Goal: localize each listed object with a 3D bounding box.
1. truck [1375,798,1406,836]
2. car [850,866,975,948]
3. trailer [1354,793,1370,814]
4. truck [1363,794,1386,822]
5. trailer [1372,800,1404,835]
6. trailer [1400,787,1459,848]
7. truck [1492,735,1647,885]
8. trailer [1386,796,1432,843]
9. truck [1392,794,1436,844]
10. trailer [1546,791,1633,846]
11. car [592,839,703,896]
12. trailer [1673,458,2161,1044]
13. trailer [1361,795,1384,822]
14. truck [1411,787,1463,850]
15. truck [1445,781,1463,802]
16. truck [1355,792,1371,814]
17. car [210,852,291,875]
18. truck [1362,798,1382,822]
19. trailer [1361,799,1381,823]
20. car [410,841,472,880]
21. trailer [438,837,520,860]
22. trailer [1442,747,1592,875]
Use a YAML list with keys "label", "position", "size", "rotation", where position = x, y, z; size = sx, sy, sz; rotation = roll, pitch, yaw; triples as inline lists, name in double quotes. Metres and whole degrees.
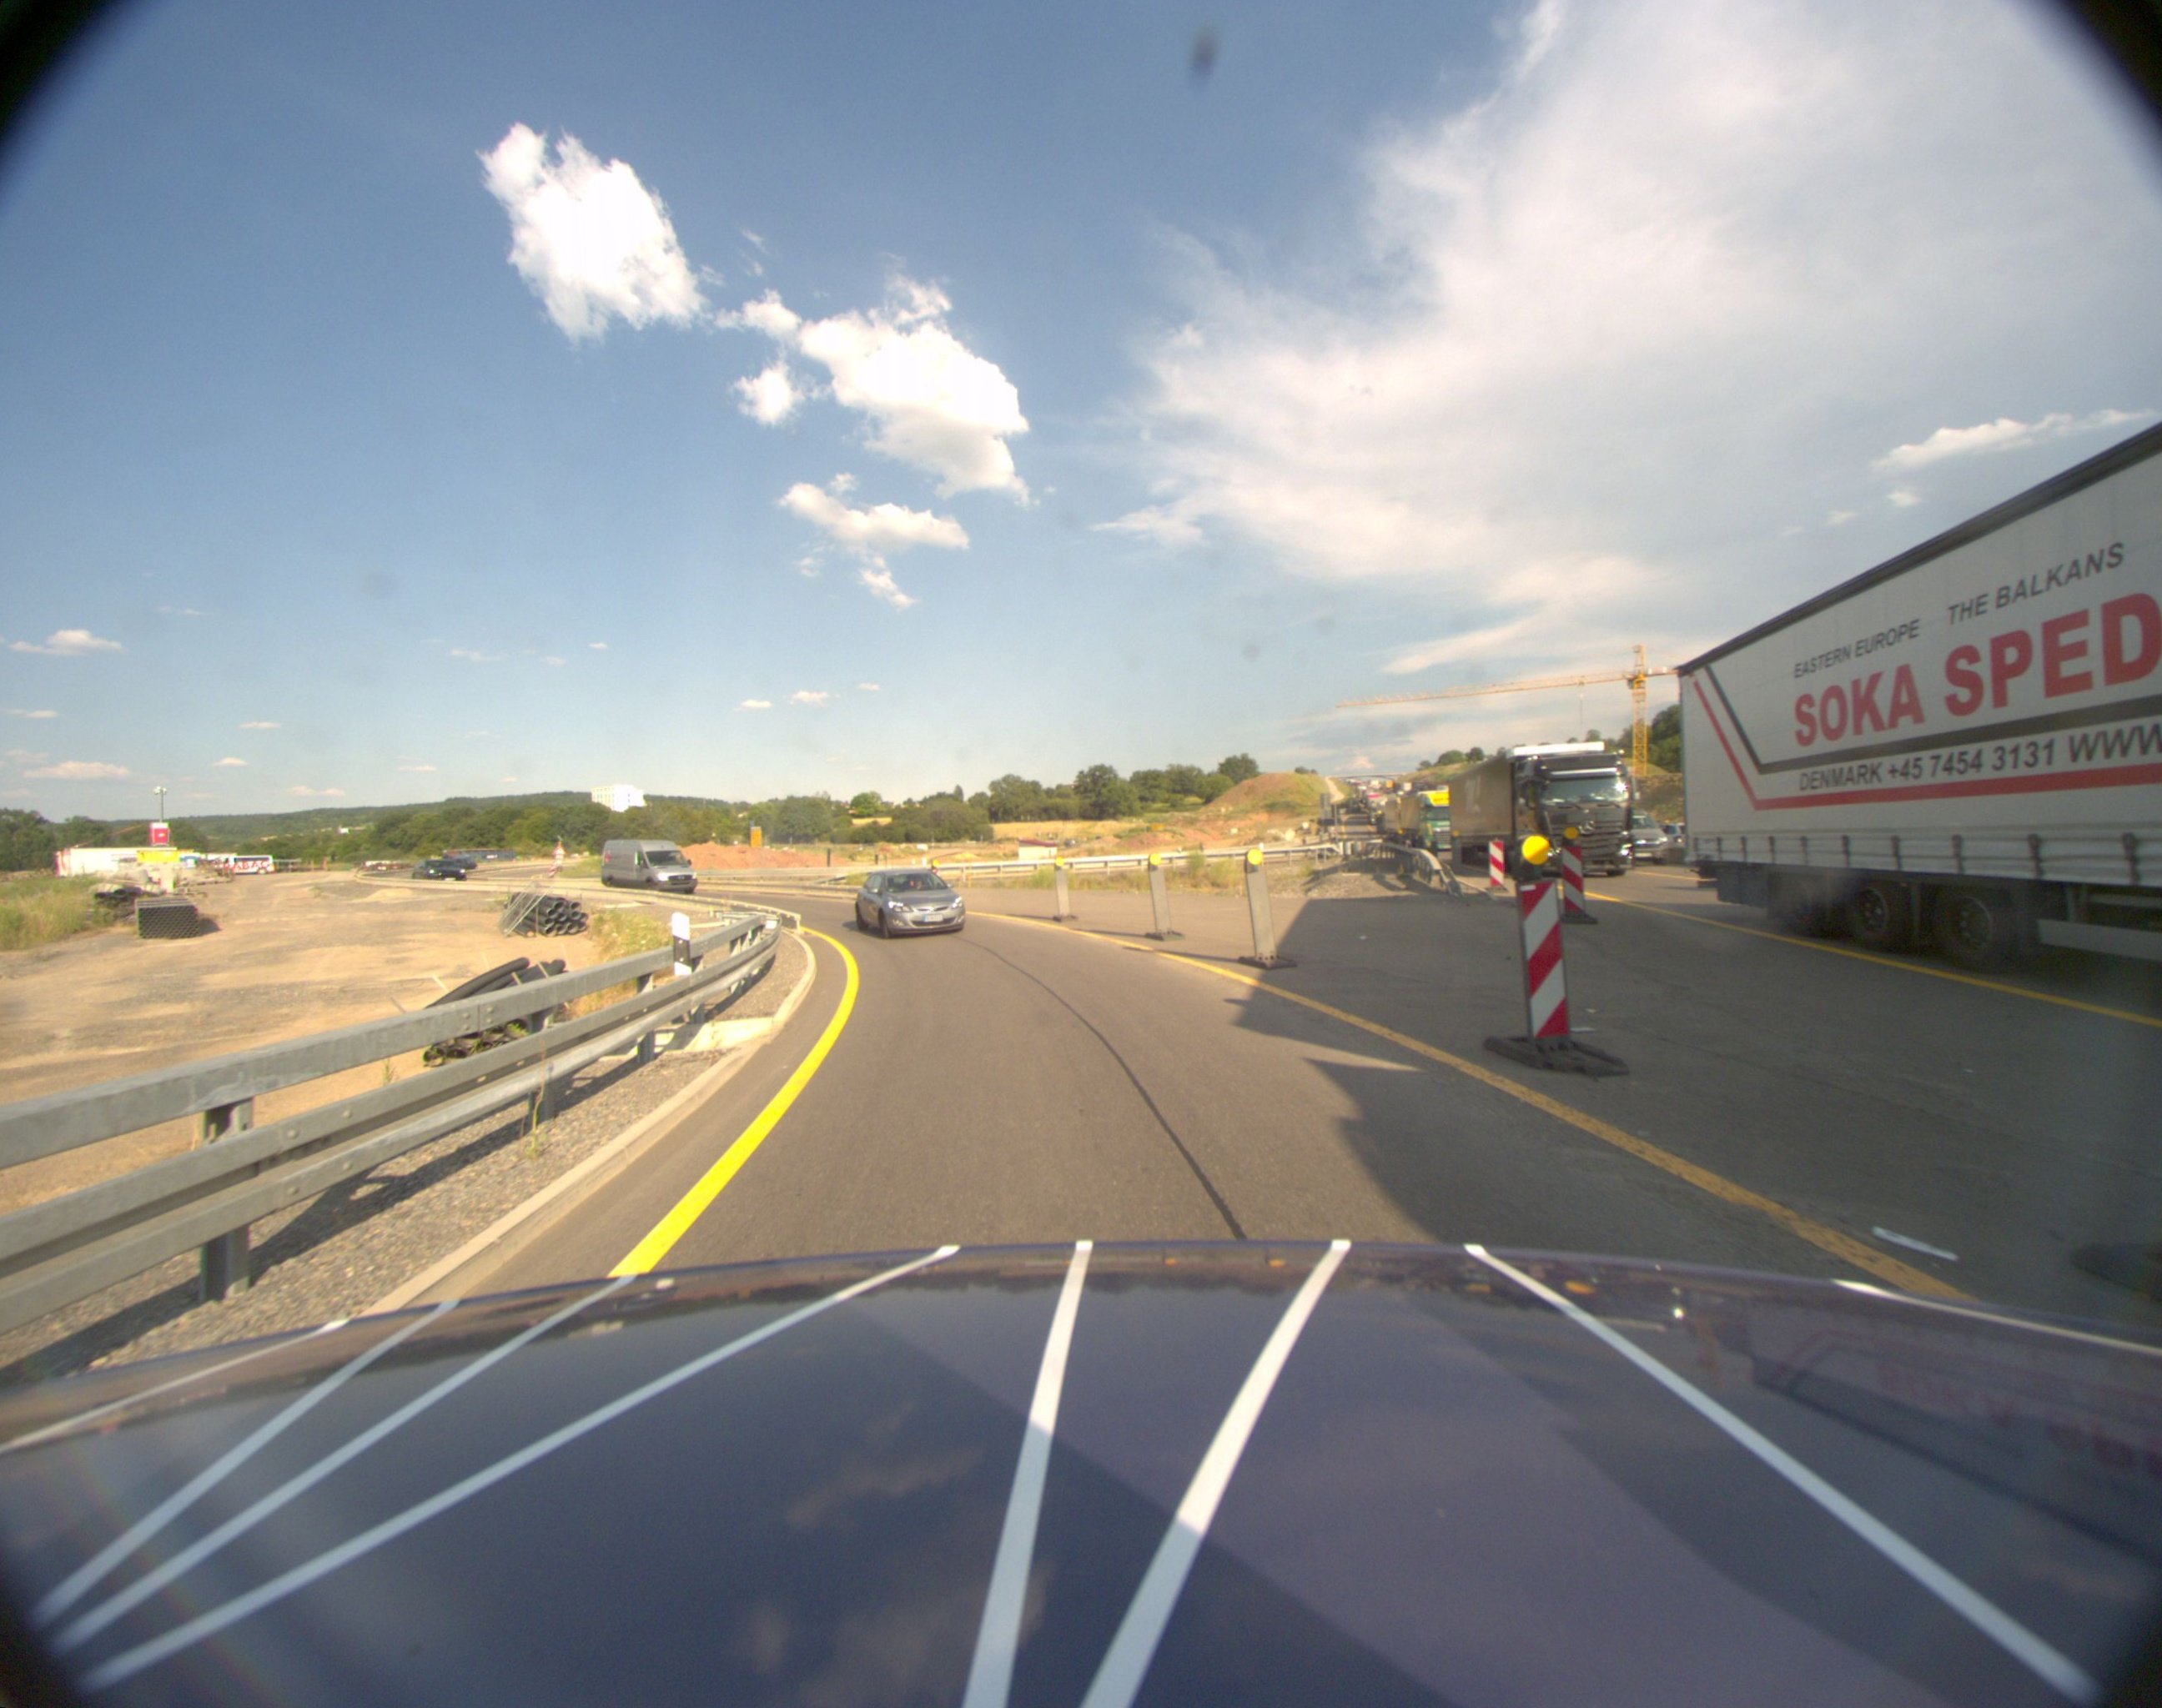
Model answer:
- label: "truck"
  position: [37.213, -4.413, 91.620]
  size: [3.107, 4.290, 6.904]
  rotation: [0, 2, 19]
- label: "car"
  position: [-4.023, 1.106, 17.589]
  size: [1.750, 1.476, 4.243]
  rotation: [-5, 2, -26]
- label: "trailer"
  position: [62.142, -11.087, 168.105]
  size: [3.107, 4.290, 14.267]
  rotation: [0, 2, 19]
- label: "truck"
  position: [46.358, -7.219, 120.234]
  size: [3.107, 4.290, 6.904]
  rotation: [0, 2, 19]
- label: "trailer"
  position: [39.806, -4.685, 98.964]
  size: [3.107, 4.290, 14.267]
  rotation: [0, 2, 19]
- label: "trailer"
  position: [25.694, -2.633, 56.593]
  size: [2.483, 3.936, 13.990]
  rotation: [-1, 2, 19]
- label: "truck"
  position: [14.987, -1.282, 23.795]
  size: [2.483, 4.037, 6.017]
  rotation: [-1, 2, 17]
- label: "trailer"
  position: [32.561, -3.381, 75.904]
  size: [3.107, 4.290, 14.267]
  rotation: [0, 2, 19]
- label: "truck"
  position: [30.119, -3.165, 68.930]
  size: [3.107, 4.290, 6.904]
  rotation: [0, 2, 19]
- label: "trailer"
  position: [37.453, -2.600, 56.399]
  size: [3.010, 3.731, 9.580]
  rotation: [0, 2, 19]
- label: "car"
  position: [-20.578, 0.562, 35.972]
  size: [5.781, 2.487, 1.921]
  rotation: [1, 3, 31]
- label: "trailer"
  position: [8.508, -0.719, 5.251]
  size: [2.483, 3.857, 13.644]
  rotation: [-1, 2, 18]
- label: "trailer"
  position: [48.931, -7.518, 127.690]
  size: [3.107, 4.290, 14.267]
  rotation: [0, 2, 19]
- label: "truck"
  position: [23.689, -2.355, 50.792]
  size: [2.483, 3.880, 6.018]
  rotation: [-1, 2, 19]
- label: "truck"
  position: [90.727, -15.169, 184.759]
  size: [3.563, 4.387, 13.195]
  rotation: [1, 2, 28]
- label: "truck"
  position: [59.270, -10.732, 159.743]
  size: [3.107, 4.290, 6.904]
  rotation: [0, 2, 19]
- label: "car"
  position: [-87.603, 0.958, 80.228]
  size: [2.480, 2.067, 5.329]
  rotation: [1, 2, 31]
- label: "truck"
  position: [53.347, -7.993, 139.447]
  size: [3.107, 4.290, 6.904]
  rotation: [0, 2, 19]
- label: "trailer"
  position: [55.682, -8.220, 146.159]
  size: [3.107, 4.290, 14.267]
  rotation: [0, 2, 19]
- label: "car"
  position: [-40.856, 0.362, 48.477]
  size: [3.988, 2.390, 1.880]
  rotation: [1, 3, 33]
- label: "trailer"
  position: [-70.668, -0.705, 89.397]
  size: [3.009, 2.400, 7.231]
  rotation: [-1, 2, 10]
- label: "trailer"
  position: [17.176, -1.603, 31.099]
  size: [2.483, 4.039, 13.644]
  rotation: [-1, 2, 18]
